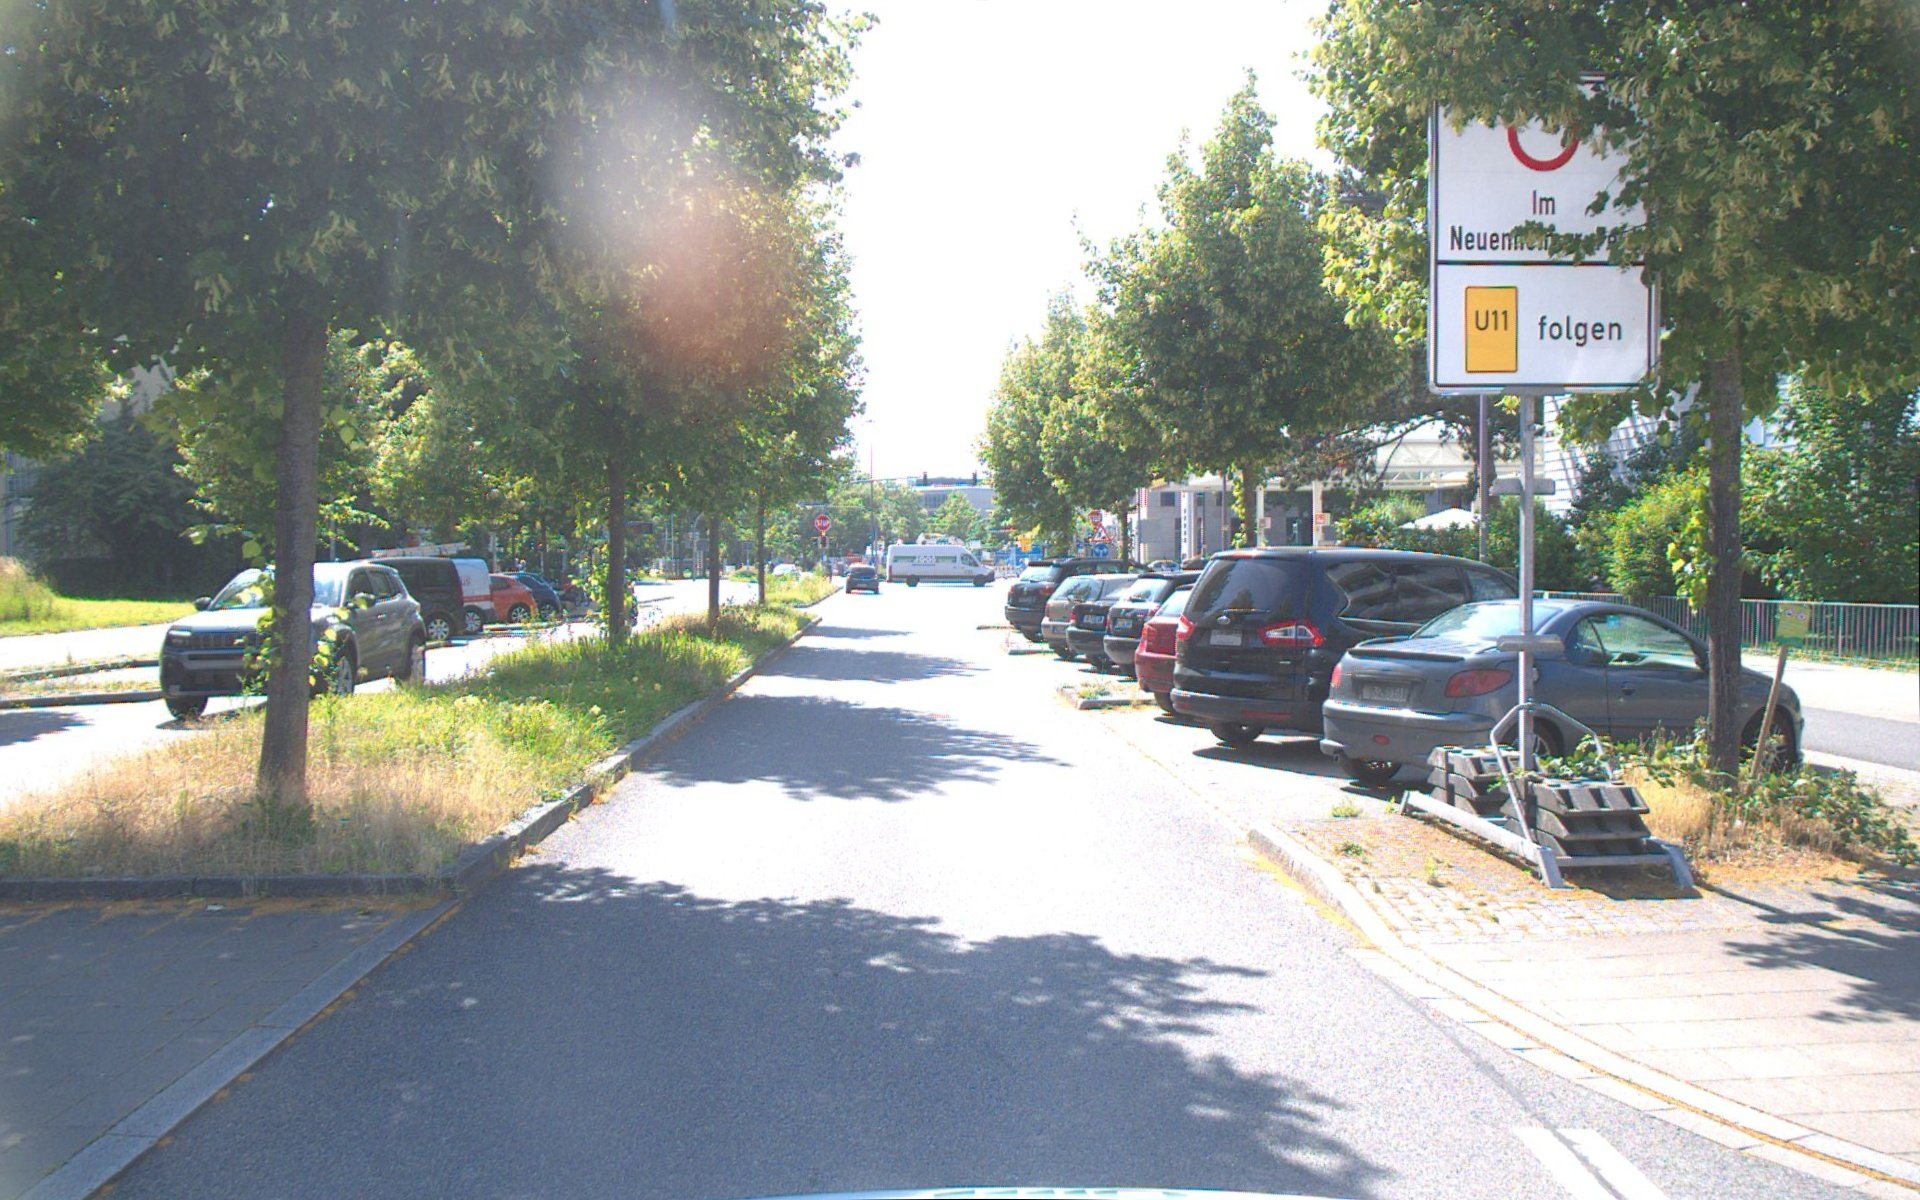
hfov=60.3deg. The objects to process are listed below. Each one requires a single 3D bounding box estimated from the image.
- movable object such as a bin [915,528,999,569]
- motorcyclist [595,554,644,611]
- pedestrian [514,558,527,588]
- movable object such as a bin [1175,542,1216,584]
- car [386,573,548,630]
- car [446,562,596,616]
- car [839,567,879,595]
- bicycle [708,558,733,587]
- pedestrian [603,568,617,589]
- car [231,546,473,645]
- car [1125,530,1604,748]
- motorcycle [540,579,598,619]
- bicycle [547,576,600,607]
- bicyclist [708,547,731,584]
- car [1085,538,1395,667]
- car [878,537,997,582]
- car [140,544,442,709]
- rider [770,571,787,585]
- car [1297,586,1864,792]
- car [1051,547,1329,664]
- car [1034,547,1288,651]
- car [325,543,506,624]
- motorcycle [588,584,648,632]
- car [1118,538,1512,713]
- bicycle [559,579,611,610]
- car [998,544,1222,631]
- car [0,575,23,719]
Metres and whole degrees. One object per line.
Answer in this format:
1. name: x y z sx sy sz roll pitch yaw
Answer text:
1. movable object such as a bin: -0.299 -5.812 188.309 9.478 4.629 3.164 0 1 -1
2. motorcyclist: -7.530 -0.382 36.594 0.882 1.242 1.061 0 1 -2
3. pedestrian: -25.159 -1.548 94.717 0.649 1.756 0.749 -1 0 -20
4. movable object such as a bin: 9.452 -1.491 66.443 1.282 1.620 1.394 -3 1 -5
5. car: -13.033 0.020 43.810 3.804 1.448 1.692 0 1 -38
6. car: -12.543 -0.356 47.325 3.744 1.448 1.827 -2 2 -43
7. car: -5.248 -1.005 85.729 1.955 1.422 3.996 0 1 -6
8. bicycle: -19.278 -2.186 133.210 1.567 2.308 3.998 0 0 -2
9. pedestrian: -26.973 -1.654 127.432 0.641 1.639 0.942 0 1 21
10. car: -12.124 -0.147 33.105 4.150 1.848 1.975 -2 2 -40
11. car: 3.640 0.269 14.663 4.074 1.668 2.019 -1 1 -36
12. motorcycle: -12.981 -0.041 54.947 1.811 1.307 0.691 0 1 -9
13. bicycle: -14.310 -0.319 61.218 1.808 1.125 0.693 0 1 -2
14. bicyclist: -19.229 -2.745 132.389 1.567 2.982 2.352 0 0 -2
15. car: 3.896 0.007 23.060 3.931 1.668 1.789 0 1 -22
16. car: -1.450 -2.546 103.978 7.285 2.721 2.900 0 1 -6
17. car: -7.174 0.240 18.208 1.706 1.574 4.072 -1 1 -1
18. rider: -15.408 -1.856 140.420 1.364 1.216 2.695 0 1 -5
19. car: 4.540 0.538 12.018 3.942 1.258 1.737 -1 1 -29
20. car: 3.520 0.034 25.313 3.935 1.668 1.740 -1 2 -25
21. car: 3.370 -0.037 27.933 3.920 1.668 1.746 0 1 -15
22. car: -12.734 -0.391 38.742 3.729 1.803 1.798 0 1 -34
23. motorcycle: -7.530 0.159 36.551 0.904 1.010 2.234 0 1 -1
24. car: 3.798 0.237 17.559 3.949 1.668 1.860 0 0 -32
25. bicycle: -14.211 -0.203 62.642 1.808 1.142 0.693 0 1 -2
26. car: 3.154 -0.279 34.269 4.694 1.689 1.730 -1 1 -37
27. car: -12.071 0.541 17.050 3.934 1.492 1.986 -2 2 -24
